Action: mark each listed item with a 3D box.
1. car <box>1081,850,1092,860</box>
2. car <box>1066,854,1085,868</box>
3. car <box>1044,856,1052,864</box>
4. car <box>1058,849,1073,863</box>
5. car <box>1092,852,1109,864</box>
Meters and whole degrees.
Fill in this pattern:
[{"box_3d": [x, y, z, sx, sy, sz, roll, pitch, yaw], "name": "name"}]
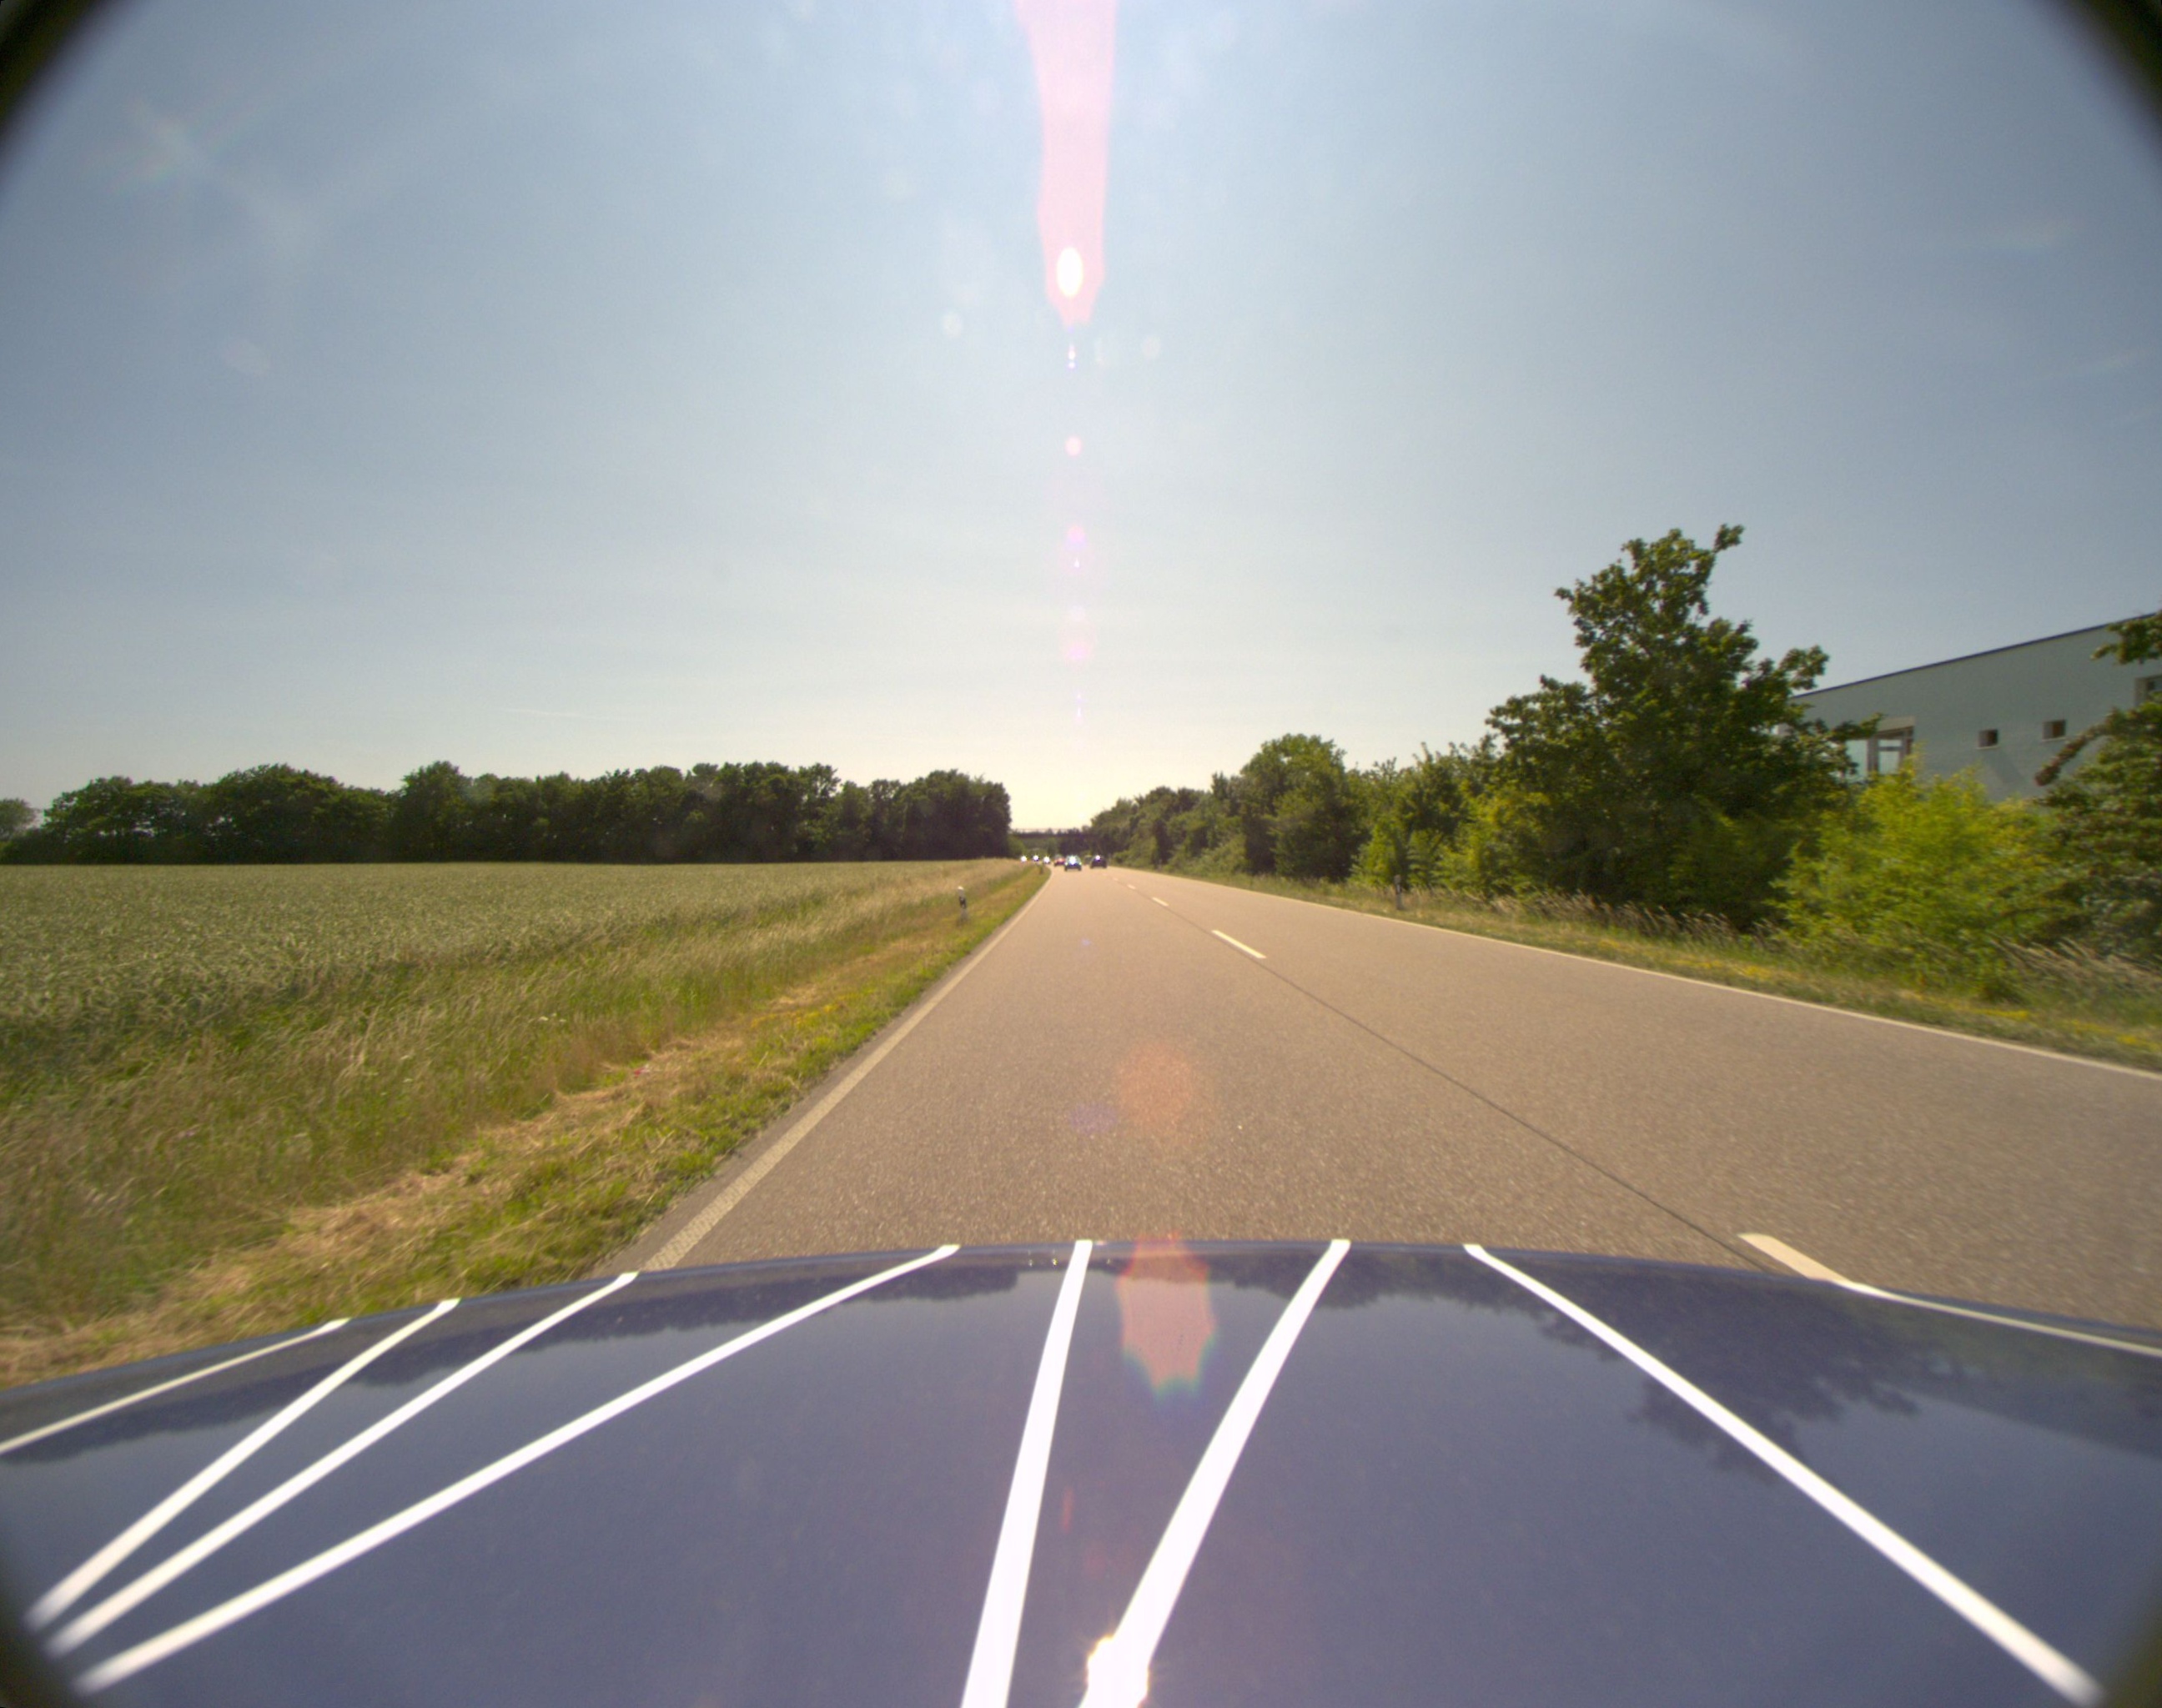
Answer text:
[{"box_3d": [0.849, 0.198, 119.033, 1.500, 1.487, 3.832, -2, 0, 0], "name": "car"}, {"box_3d": [-0.627, 0.755, 80.960, 1.694, 1.431, 3.708, 0, 0, -5], "name": "car"}, {"box_3d": [-6.998, 1.236, 163.676, 1.554, 1.659, 3.999, -2, 1, -1], "name": "car"}, {"box_3d": [-2.433, 0.281, 118.328, 1.999, 2.002, 3.998, -2, 1, -5], "name": "car"}, {"box_3d": [2.439, 0.492, 95.988, 1.805, 1.442, 4.532, -2, 0, -2], "name": "car"}]
